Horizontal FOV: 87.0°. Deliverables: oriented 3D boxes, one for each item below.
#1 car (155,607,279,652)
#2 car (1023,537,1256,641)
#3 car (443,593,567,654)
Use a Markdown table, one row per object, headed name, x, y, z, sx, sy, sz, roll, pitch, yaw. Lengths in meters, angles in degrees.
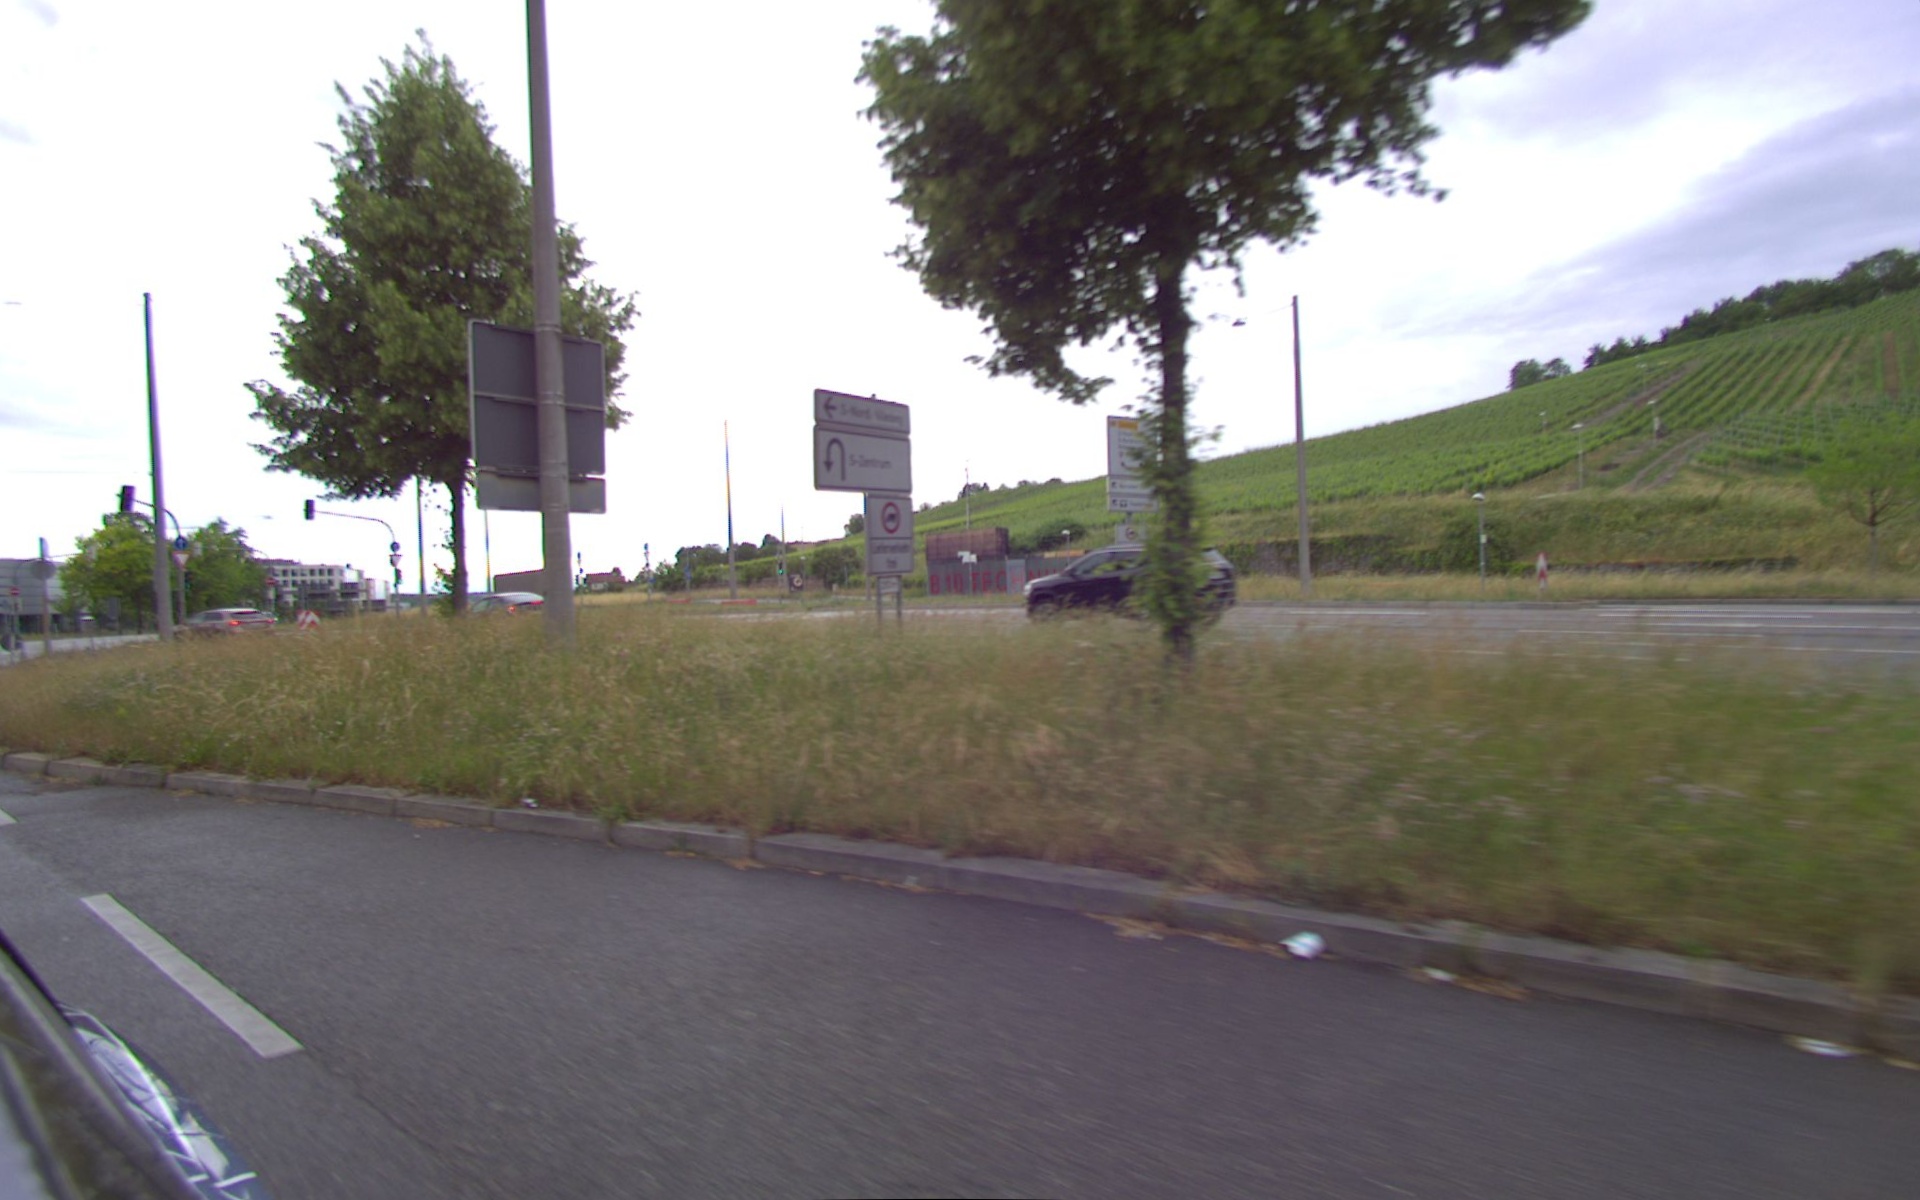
| name | x | y | z | sx | sy | sz | roll | pitch | yaw |
| --- | --- | --- | --- | --- | --- | --- | --- | --- | --- |
| car | -28.258 | 1.132 | 38.475 | 4.310 | 1.472 | 1.727 | -2 | 1 | 21 |
| car | 3.301 | -0.191 | 19.078 | 4.001 | 1.763 | 1.748 | -1 | 1 | 44 |
| car | -13.953 | 0.687 | 30.938 | 4.357 | 1.666 | 1.858 | -1 | 1 | 43 |
